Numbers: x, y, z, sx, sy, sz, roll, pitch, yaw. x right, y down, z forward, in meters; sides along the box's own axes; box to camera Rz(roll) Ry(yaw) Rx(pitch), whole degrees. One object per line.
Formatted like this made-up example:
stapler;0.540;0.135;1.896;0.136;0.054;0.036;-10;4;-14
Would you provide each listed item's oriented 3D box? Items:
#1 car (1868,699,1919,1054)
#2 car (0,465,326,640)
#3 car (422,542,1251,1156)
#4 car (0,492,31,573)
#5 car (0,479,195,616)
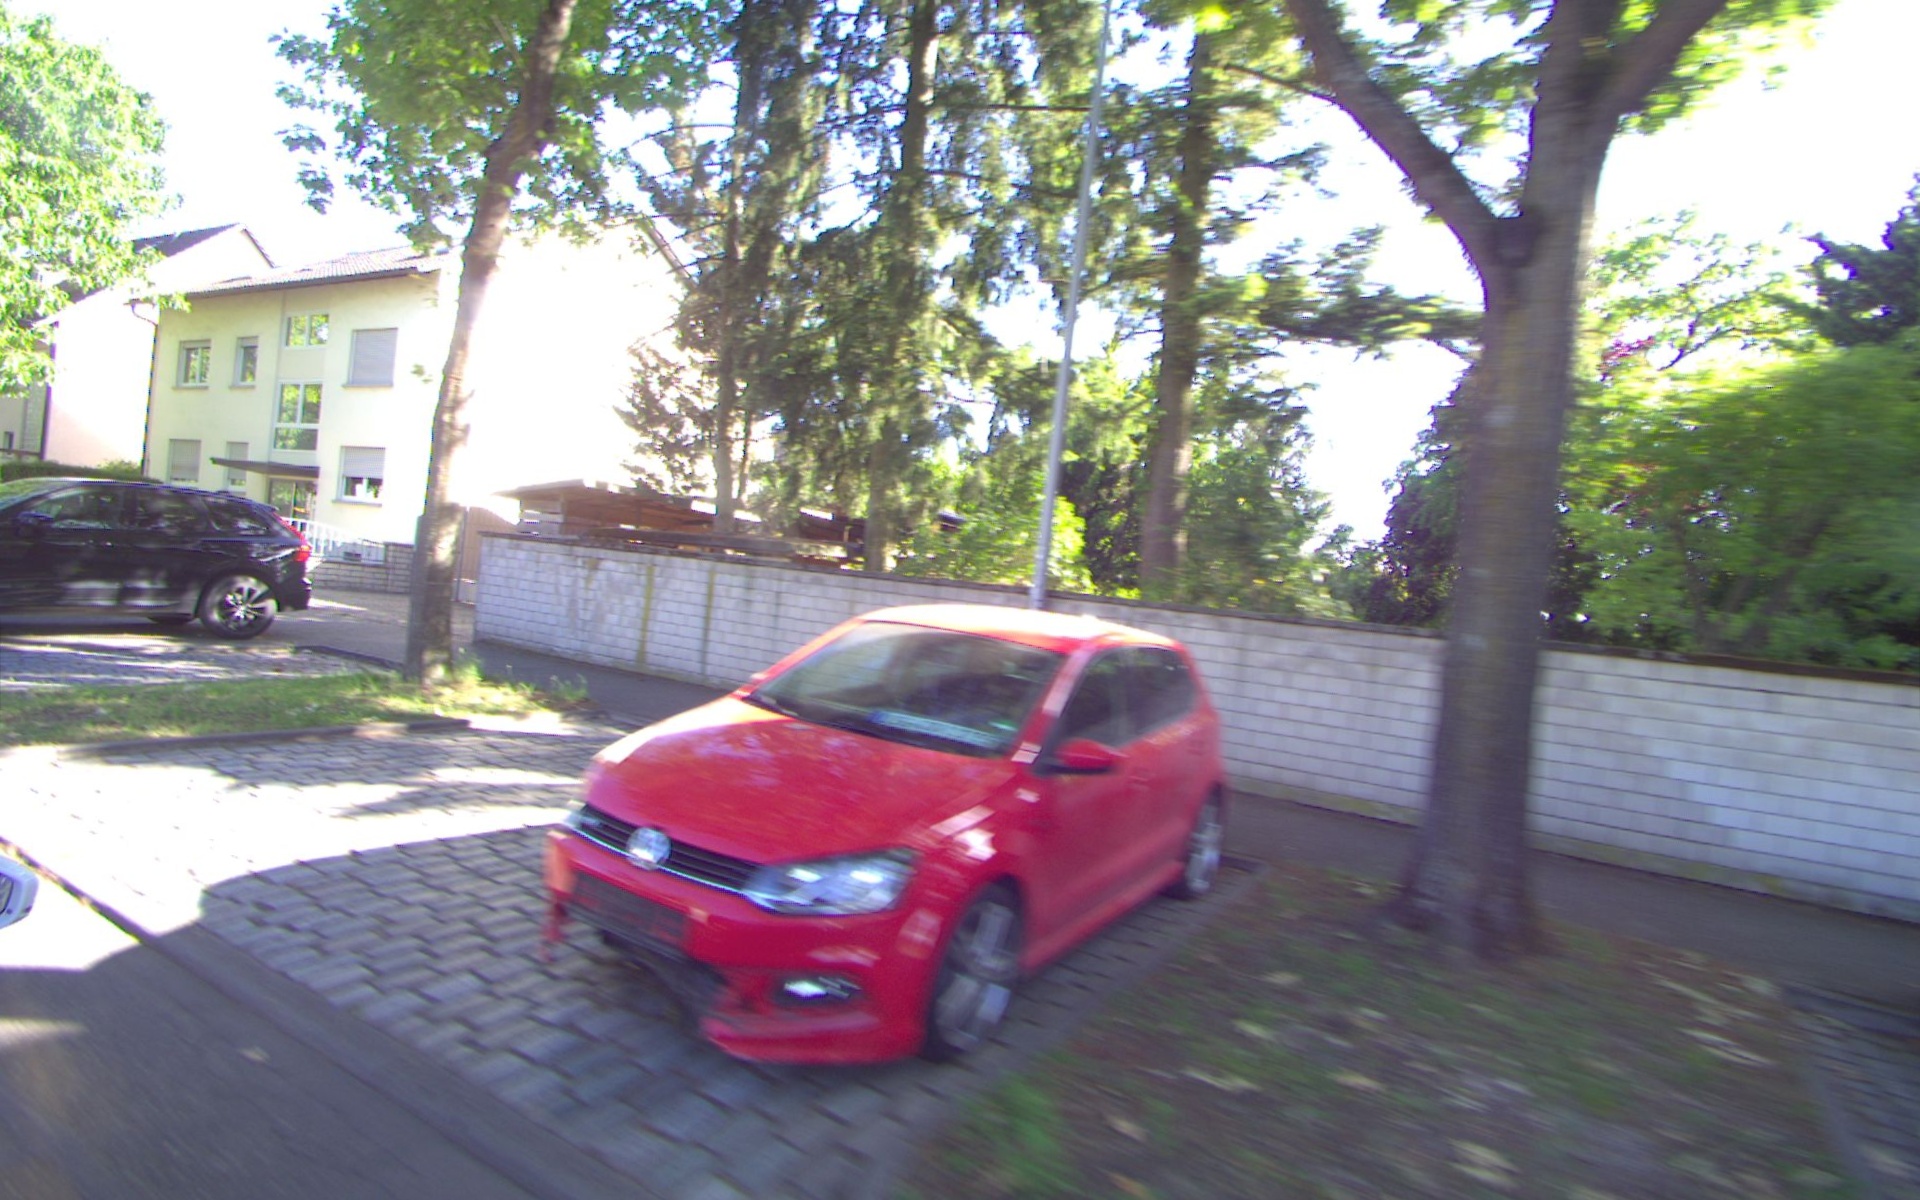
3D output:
car;4.152;1.230;2.530;1.807;1.465;4.504;8;2;32
car;-9.614;-0.515;10.599;1.807;1.668;4.577;7;1;30
car;-0.101;0.697;4.633;1.727;1.503;3.779;5;0;32
car;-18.061;-1.303;16.064;1.663;1.349;4.428;7;2;32
car;-12.114;-0.729;12.011;1.809;1.549;4.323;7;1;29
